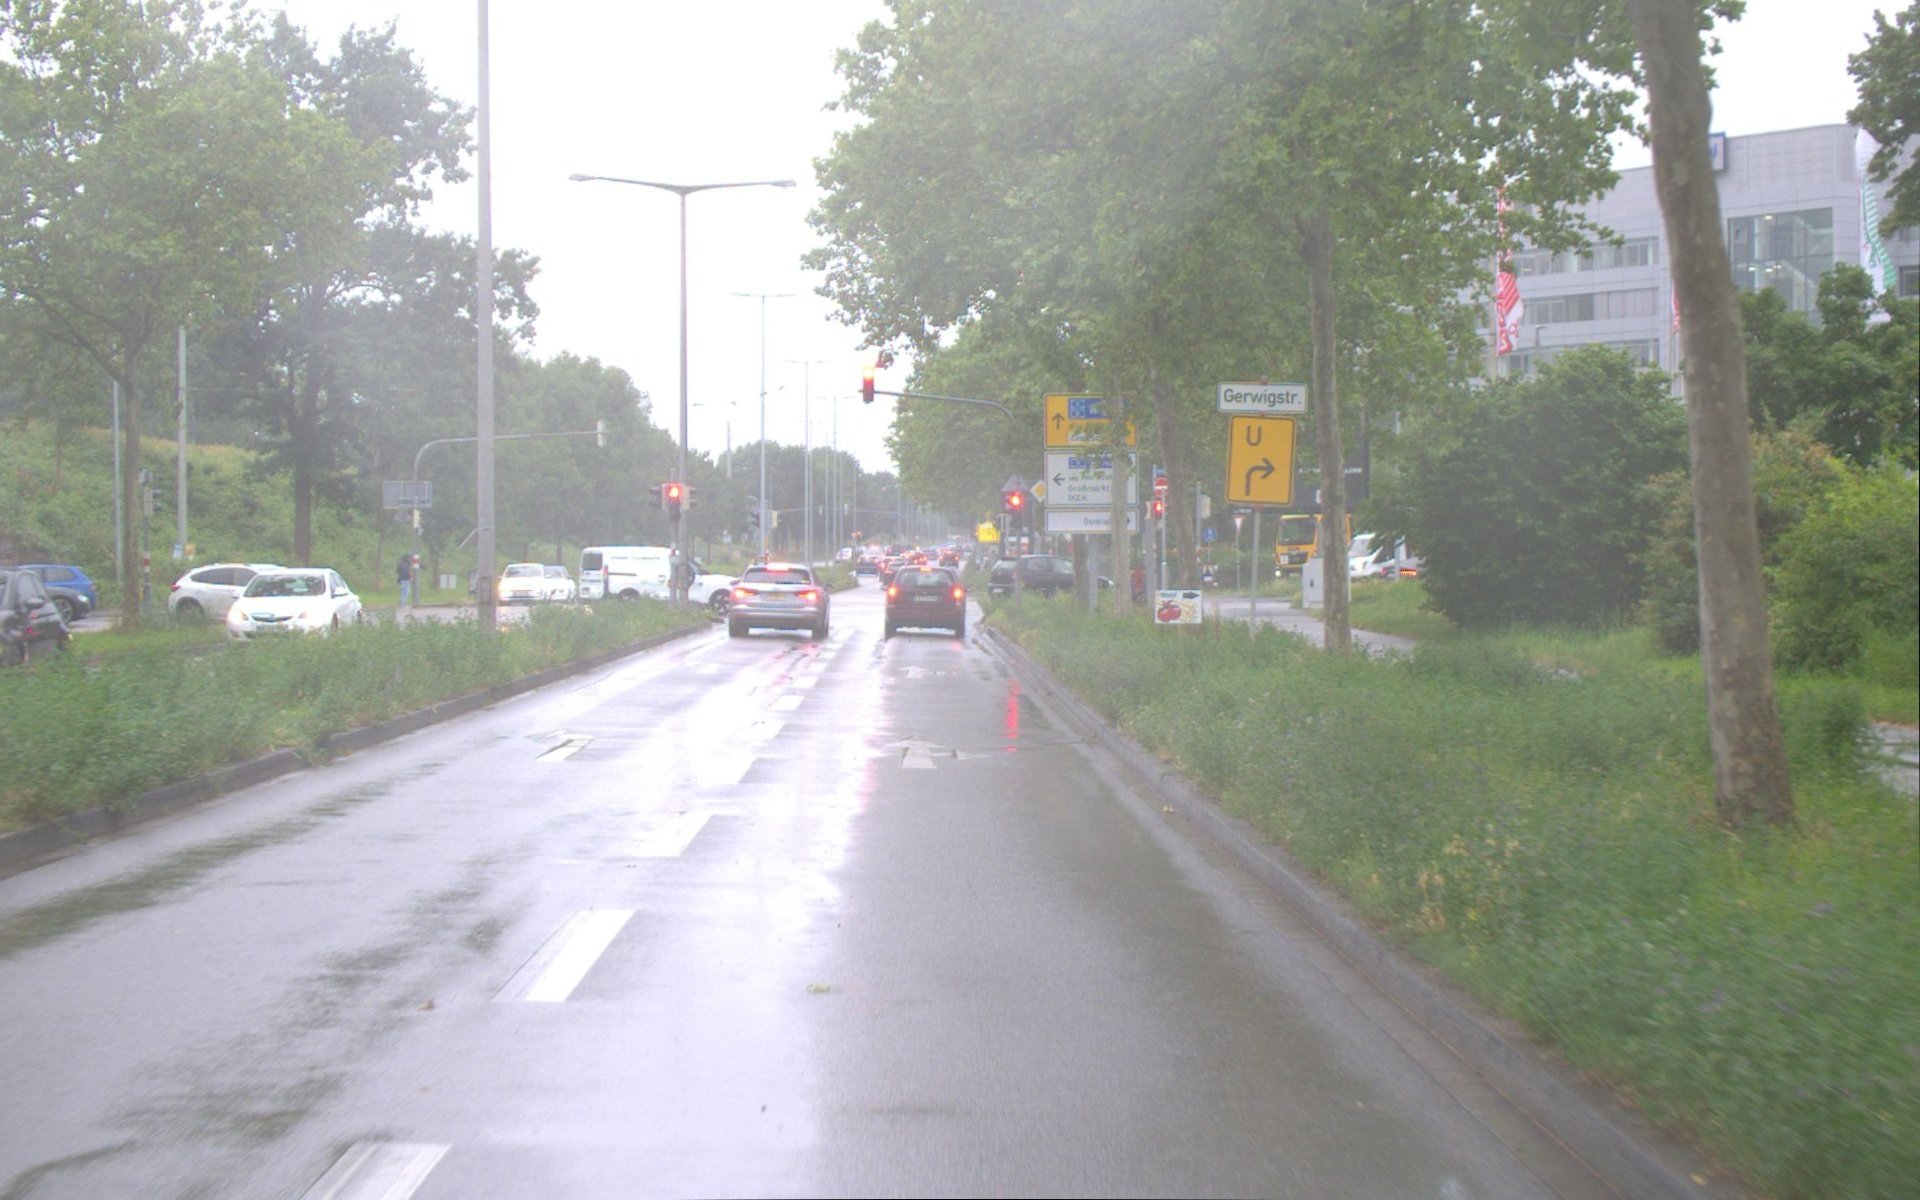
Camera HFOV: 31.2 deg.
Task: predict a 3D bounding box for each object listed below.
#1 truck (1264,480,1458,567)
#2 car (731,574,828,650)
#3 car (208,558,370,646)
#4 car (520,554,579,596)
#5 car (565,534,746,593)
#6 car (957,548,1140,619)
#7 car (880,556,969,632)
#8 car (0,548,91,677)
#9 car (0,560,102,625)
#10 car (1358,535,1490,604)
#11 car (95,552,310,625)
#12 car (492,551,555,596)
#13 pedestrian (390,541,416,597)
[{"bbox_3d":[14.403,-2.709,123.111,7.027,3.044,2.647,0,1,-37],"label":"truck"},{"bbox_3d":[-3.522,0.213,67.708,1.690,1.428,4.574,1,1,0],"label":"car"},{"bbox_3d":[-11.509,0.006,59.273,1.931,1.440,4.657,1,1,-1],"label":"car"},{"bbox_3d":[-15.119,-0.935,126.660,1.712,1.525,4.000,0,1,0],"label":"car"},{"bbox_3d":[-8.000,-0.955,90.442,4.372,1.532,1.802,0,1,-29],"label":"car"},{"bbox_3d":[2.192,-0.429,84.560,4.375,1.531,1.801,-3,4,-40],"label":"car"},{"bbox_3d":[-0.760,-0.145,73.265,1.796,1.532,4.387,2,0,0],"label":"car"},{"bbox_3d":[-11.673,0.110,40.554,1.931,1.440,3.707,1,1,-1],"label":"car"},{"bbox_3d":[-22.910,-0.185,82.085,4.372,1.532,1.802,0,1,-29],"label":"car"},{"bbox_3d":[15.926,-1.049,117.881,4.374,2.183,1.802,-3,2,-35],"label":"car"},{"bbox_3d":[-16.746,-0.259,75.957,4.511,1.583,1.860,0,1,29],"label":"car"},{"bbox_3d":[-15.236,-0.940,120.121,1.712,1.525,4.000,0,1,0],"label":"car"},{"bbox_3d":[-17.975,-0.990,110.968,0.533,1.779,0.673,1,0,17],"label":"pedestrian"}]
